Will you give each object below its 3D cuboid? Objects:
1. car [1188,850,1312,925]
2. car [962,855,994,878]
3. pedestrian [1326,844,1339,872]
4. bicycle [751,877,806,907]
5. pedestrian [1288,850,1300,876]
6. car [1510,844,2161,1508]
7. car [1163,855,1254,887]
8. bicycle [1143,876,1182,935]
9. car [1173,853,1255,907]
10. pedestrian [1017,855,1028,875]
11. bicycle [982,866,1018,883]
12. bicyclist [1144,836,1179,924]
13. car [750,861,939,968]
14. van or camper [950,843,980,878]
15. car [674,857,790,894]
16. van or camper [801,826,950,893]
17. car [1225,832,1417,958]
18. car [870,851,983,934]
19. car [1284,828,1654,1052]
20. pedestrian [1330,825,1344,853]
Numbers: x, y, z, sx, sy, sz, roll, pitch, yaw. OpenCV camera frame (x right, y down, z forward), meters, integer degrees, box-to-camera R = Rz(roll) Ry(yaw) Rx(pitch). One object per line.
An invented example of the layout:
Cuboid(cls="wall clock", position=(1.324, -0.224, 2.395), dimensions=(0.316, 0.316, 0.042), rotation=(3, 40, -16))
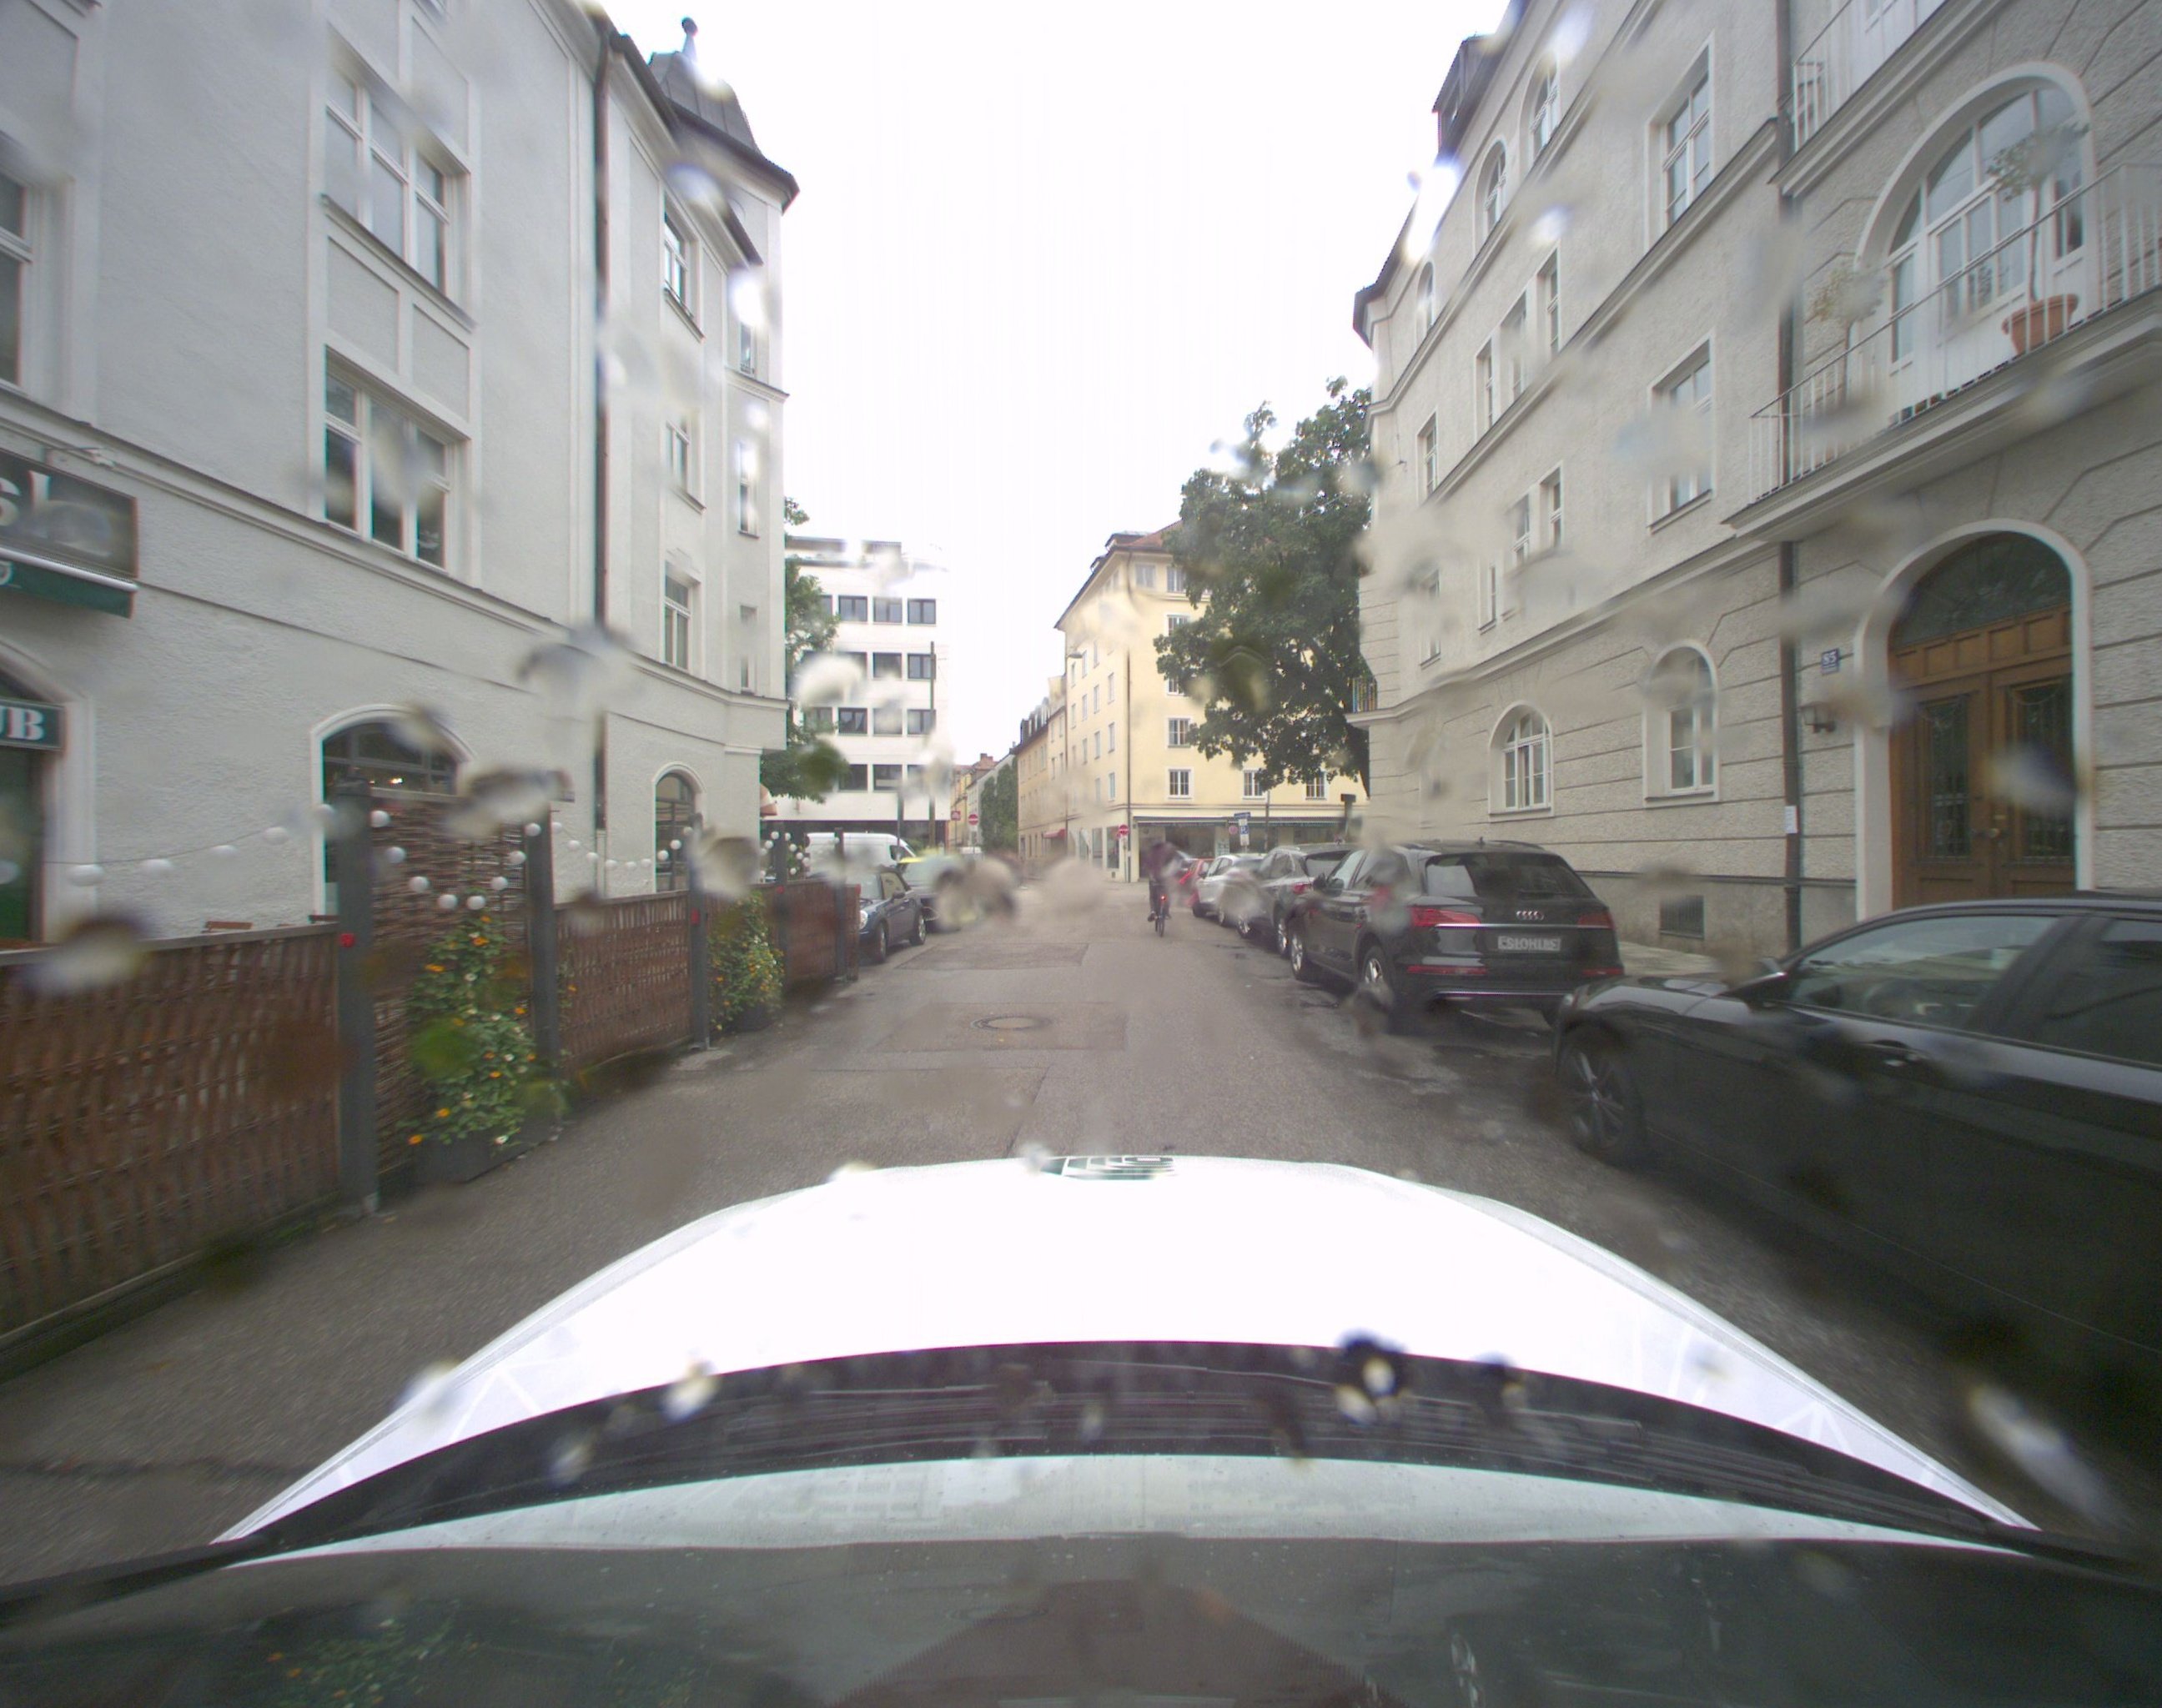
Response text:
Cuboid(cls="car", position=(3.664, 0.667, 18.348), dimensions=(1.747, 1.496, 3.904), rotation=(0, 0, -4))
Cuboid(cls="car", position=(-7.046, 0.835, 55.603), dimensions=(1.834, 1.535, 3.983), rotation=(-1, 0, -12))
Cuboid(cls="pedestrian", position=(14.372, 0.236, 46.500), dimensions=(0.435, 1.551, 0.530), rotation=(-1, 0, -28))
Cuboid(cls="bicycle", position=(-9.712, 1.208, 26.106), dimensions=(1.567, 0.947, 0.891), rotation=(1, -2, -27))
Cuboid(cls="pedestrian", position=(11.754, 0.490, 44.913), dimensions=(0.507, 1.433, 0.586), rotation=(-1, 0, 31))
Cuboid(cls="car", position=(3.293, 0.710, 2.676), dimensions=(1.700, 1.471, 4.204), rotation=(-1, 0, 2))
Cuboid(cls="car", position=(5.896, 0.803, 37.972), dimensions=(3.973, 1.416, 1.820), rotation=(0, -4, 0))
Cuboid(cls="bicycle", position=(1.523, 0.941, 15.384), dimensions=(0.636, 1.004, 1.575), rotation=(-1, 0, 3))
Cuboid(cls="car", position=(3.789, 0.689, 23.854), dimensions=(1.664, 1.435, 4.212), rotation=(0, 0, -1))
Cuboid(cls="pedestrian", position=(-5.230, 1.006, 72.778), dimensions=(0.878, 1.778, 0.770), rotation=(-1, 0, -12))
Cuboid(cls="bicycle", position=(-4.478, 1.146, 45.213), dimensions=(1.915, 0.863, 0.615), rotation=(-1, 0, -17))
Cuboid(cls="bicyclist", position=(1.521, 0.477, 15.459), dimensions=(0.603, 1.606, 0.758), rotation=(-1, 0, 3))
Cuboid(cls="car", position=(-3.640, 0.866, 13.338), dimensions=(1.700, 1.390, 4.003), rotation=(-2, 0, 3))
Cuboid(cls="van or camper", position=(-8.907, 0.460, 62.160), dimensions=(1.994, 2.540, 4.742), rotation=(-1, 0, -11))
Cuboid(cls="car", position=(-14.202, 0.893, 33.357), dimensions=(4.057, 1.429, 1.791), rotation=(-1, -3, -13))
Cuboid(cls="van or camper", position=(-8.603, 0.219, 34.584), dimensions=(5.903, 2.677, 1.867), rotation=(-1, -2, -10))
Cuboid(cls="car", position=(3.723, 0.566, 13.503), dimensions=(1.785, 1.713, 4.424), rotation=(-1, 0, -1))
Cuboid(cls="car", position=(-3.334, 0.778, 18.325), dimensions=(1.671, 1.597, 3.945), rotation=(-3, 0, 1))
Cuboid(cls="car", position=(3.403, 0.625, 8.202), dimensions=(1.770, 1.636, 4.377), rotation=(1, 0, 2))
Cuboid(cls="pedestrian", position=(14.814, -0.864, 47.146), dimensions=(0.552, 1.575, 0.576), rotation=(1, -1, -10))
